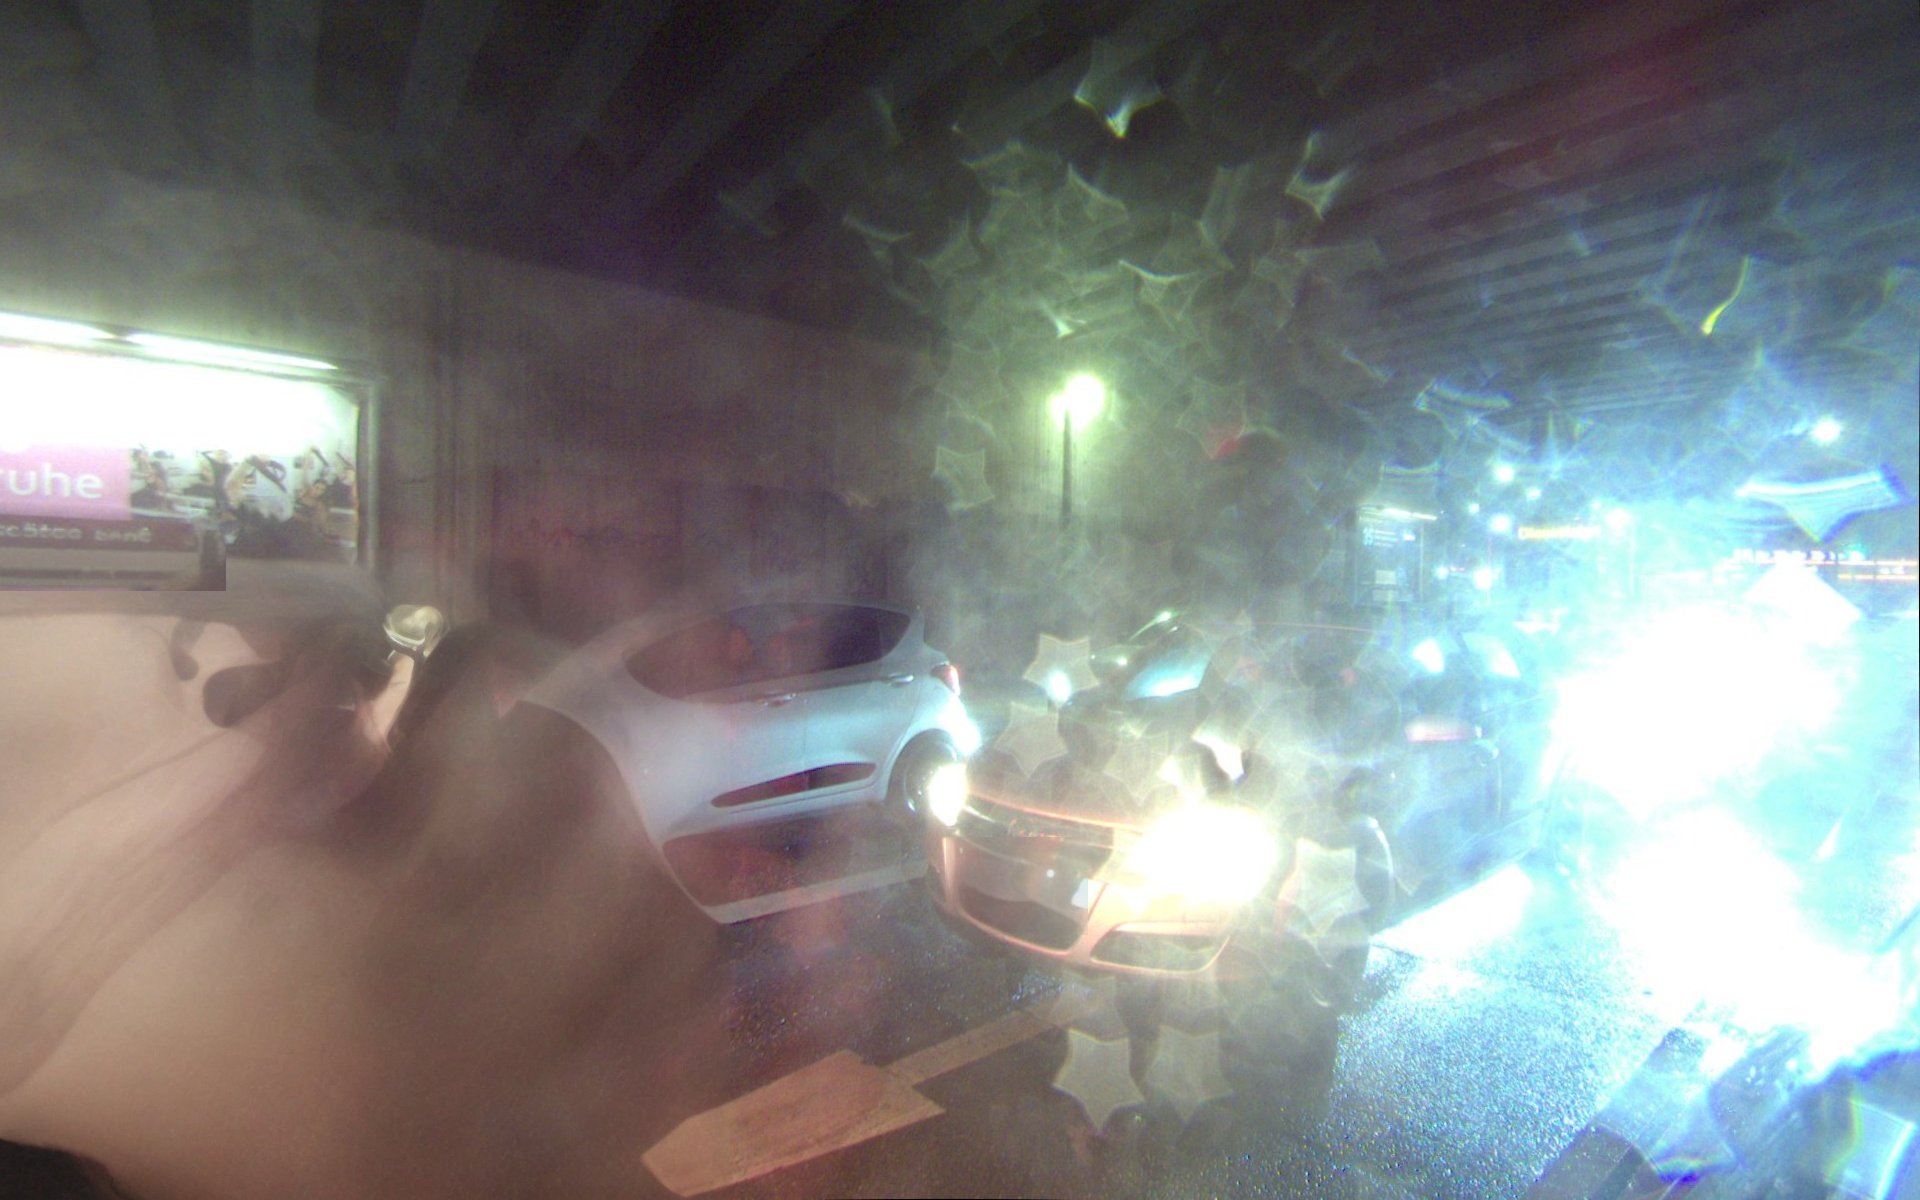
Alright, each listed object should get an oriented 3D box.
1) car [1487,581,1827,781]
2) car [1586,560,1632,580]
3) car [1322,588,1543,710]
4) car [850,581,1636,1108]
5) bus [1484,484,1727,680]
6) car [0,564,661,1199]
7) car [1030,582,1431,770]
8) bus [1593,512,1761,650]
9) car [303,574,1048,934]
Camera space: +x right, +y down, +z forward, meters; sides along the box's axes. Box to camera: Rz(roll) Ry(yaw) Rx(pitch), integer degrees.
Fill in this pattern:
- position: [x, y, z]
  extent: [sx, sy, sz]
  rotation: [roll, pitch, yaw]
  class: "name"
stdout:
- position: [6.769, 0.621, 9.656]
  extent: [4.091, 1.506, 1.722]
  rotation: [-1, -2, -42]
  class: "car"
- position: [46.344, -2.108, 72.313]
  extent: [1.685, 1.407, 3.979]
  rotation: [0, 1, 17]
  class: "car"
- position: [7.149, 0.608, 15.121]
  extent: [1.721, 1.505, 4.096]
  rotation: [3, 3, 44]
  class: "car"
- position: [1.636, 0.652, 4.851]
  extent: [4.091, 1.464, 1.723]
  rotation: [-1, 1, -42]
  class: "car"
- position: [14.089, -0.395, 21.609]
  extent: [2.733, 3.318, 9.551]
  rotation: [1, 1, 43]
  class: "bus"
- position: [-2.695, 0.696, 0.974]
  extent: [4.308, 1.464, 1.723]
  rotation: [-1, 3, -42]
  class: "car"
- position: [2.977, 0.582, 10.447]
  extent: [4.705, 1.505, 1.723]
  rotation: [-1, 2, -42]
  class: "car"
- position: [20.533, -0.542, 28.673]
  extent: [2.733, 3.278, 9.551]
  rotation: [1, 1, 43]
  class: "bus"
- position: [-1.493, 0.607, 6.236]
  extent: [4.091, 1.464, 1.723]
  rotation: [-1, 3, -42]
  class: "car"
